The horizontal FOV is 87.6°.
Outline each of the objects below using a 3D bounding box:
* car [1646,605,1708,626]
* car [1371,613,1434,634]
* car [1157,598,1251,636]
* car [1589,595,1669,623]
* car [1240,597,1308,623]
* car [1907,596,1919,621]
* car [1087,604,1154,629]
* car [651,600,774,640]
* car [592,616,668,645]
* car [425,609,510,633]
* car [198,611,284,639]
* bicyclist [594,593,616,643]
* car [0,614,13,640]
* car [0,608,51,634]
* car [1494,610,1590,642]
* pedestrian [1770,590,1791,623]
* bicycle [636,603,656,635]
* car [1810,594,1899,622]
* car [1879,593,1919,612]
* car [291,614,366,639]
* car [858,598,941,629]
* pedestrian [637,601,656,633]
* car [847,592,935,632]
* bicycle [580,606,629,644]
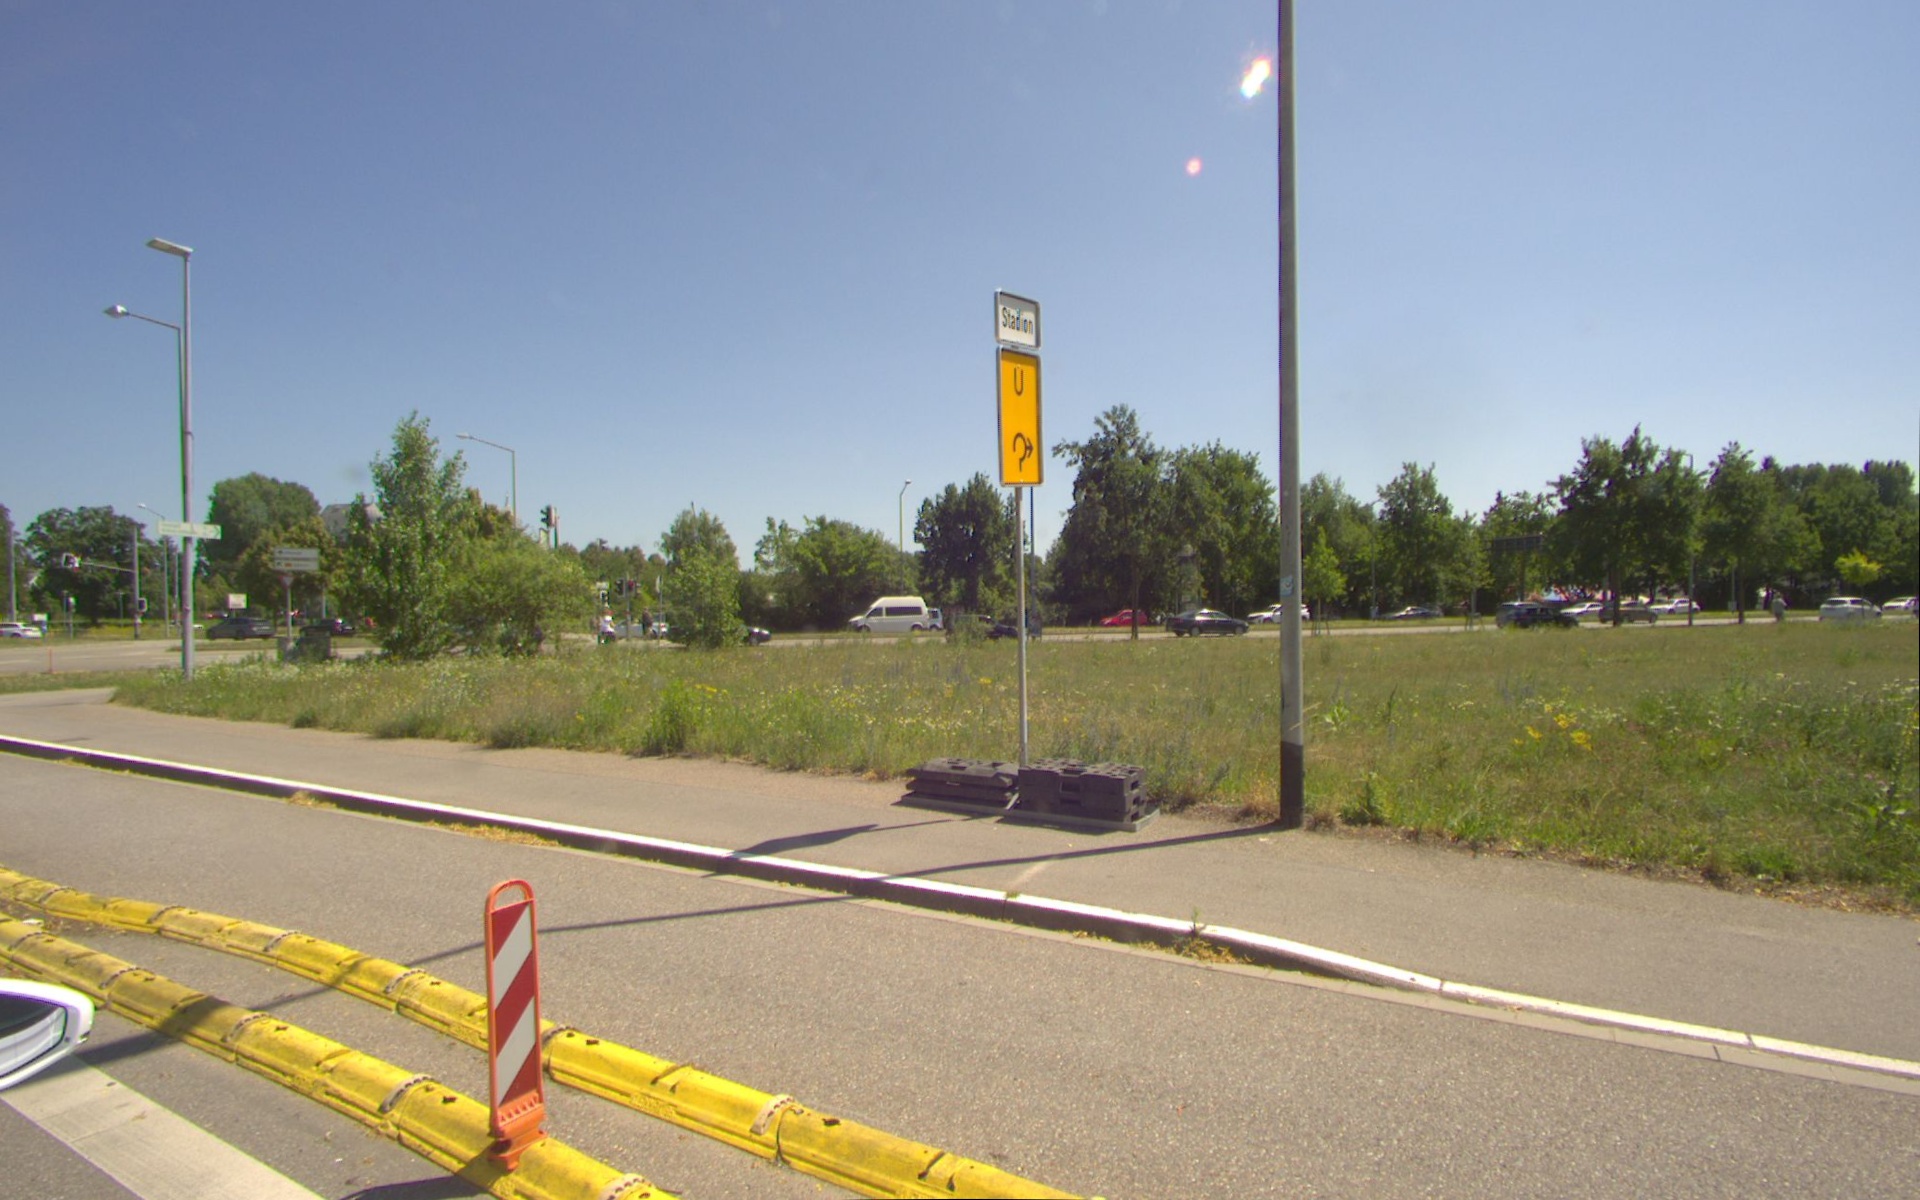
[{"bbox_3d":[58.677,1.296,81.985,4.365,1.612,1.846,0,-2,-16],"label":"car"},{"bbox_3d":[34.391,1.847,77.874,4.365,1.612,1.846,0,-2,-16],"label":"car"},{"bbox_3d":[13.161,0.933,54.036,4.564,1.961,1.996,1,-2,-19],"label":"car"},{"bbox_3d":[44.098,0.609,66.025,4.563,1.758,1.997,0,-2,-18],"label":"car"},{"bbox_3d":[22.257,0.709,70.989,4.365,1.758,1.846,0,-2,-16],"label":"car"},{"bbox_3d":[69.497,0.602,70.612,4.563,1.758,1.997,0,-2,-18],"label":"car"},{"bbox_3d":[11.349,1.195,70.941,4.365,1.758,1.846,0,-2,-16],"label":"car"},{"bbox_3d":[-11.401,0.960,46.199,5.250,1.758,1.992,1,-2,-27],"label":"car"},{"bbox_3d":[-20.365,1.866,61.923,4.365,1.758,1.846,0,-2,-16],"label":"car"},{"bbox_3d":[-29.271,1.255,59.559,4.248,1.389,1.752,0,-2,8],"label":"car"},{"bbox_3d":[-45.935,1.631,64.038,4.359,1.758,1.849,0,-2,7],"label":"car"},{"bbox_3d":[-13.169,0.672,37.160,0.597,1.864,0.572,0,-1,2],"label":"bicyclist"},{"bbox_3d":[-66.655,1.794,67.176,4.358,1.758,1.849,0,-2,-3],"label":"car"},{"bbox_3d":[-67.616,1.490,71.250,3.933,1.794,1.782,1,-2,-21],"label":"car"},{"bbox_3d":[32.796,1.466,56.471,4.559,1.758,1.999,0,-2,-13],"label":"car"},{"bbox_3d":[40.837,0.339,49.863,0.548,1.611,0.662,1,-1,-32],"label":"pedestrian"},{"bbox_3d":[-16.768,1.037,53.553,0.967,1.617,2.879,0,-2,-16],"label":"bicycle"},{"bbox_3d":[57.196,0.534,64.048,4.559,1.758,1.999,0,-2,-13],"label":"car"},{"bbox_3d":[84.686,0.270,89.392,4.365,1.612,1.846,0,-2,-16],"label":"car"},{"bbox_3d":[-45.656,1.932,72.415,4.359,1.758,1.849,0,-2,7],"label":"car"},{"bbox_3d":[-4.052,0.927,66.623,5.233,1.987,1.991,0,-2,-16],"label":"car"},{"bbox_3d":[-16.725,0.902,53.415,0.954,1.681,0.885,0,-1,-16],"label":"pedestrian"},{"bbox_3d":[-4.374,0.797,62.994,5.233,2.427,1.991,0,-2,-16],"label":"car"},{"bbox_3d":[-13.166,0.947,37.211,0.628,1.370,2.896,0,-2,4],"label":"bicycle"}]
